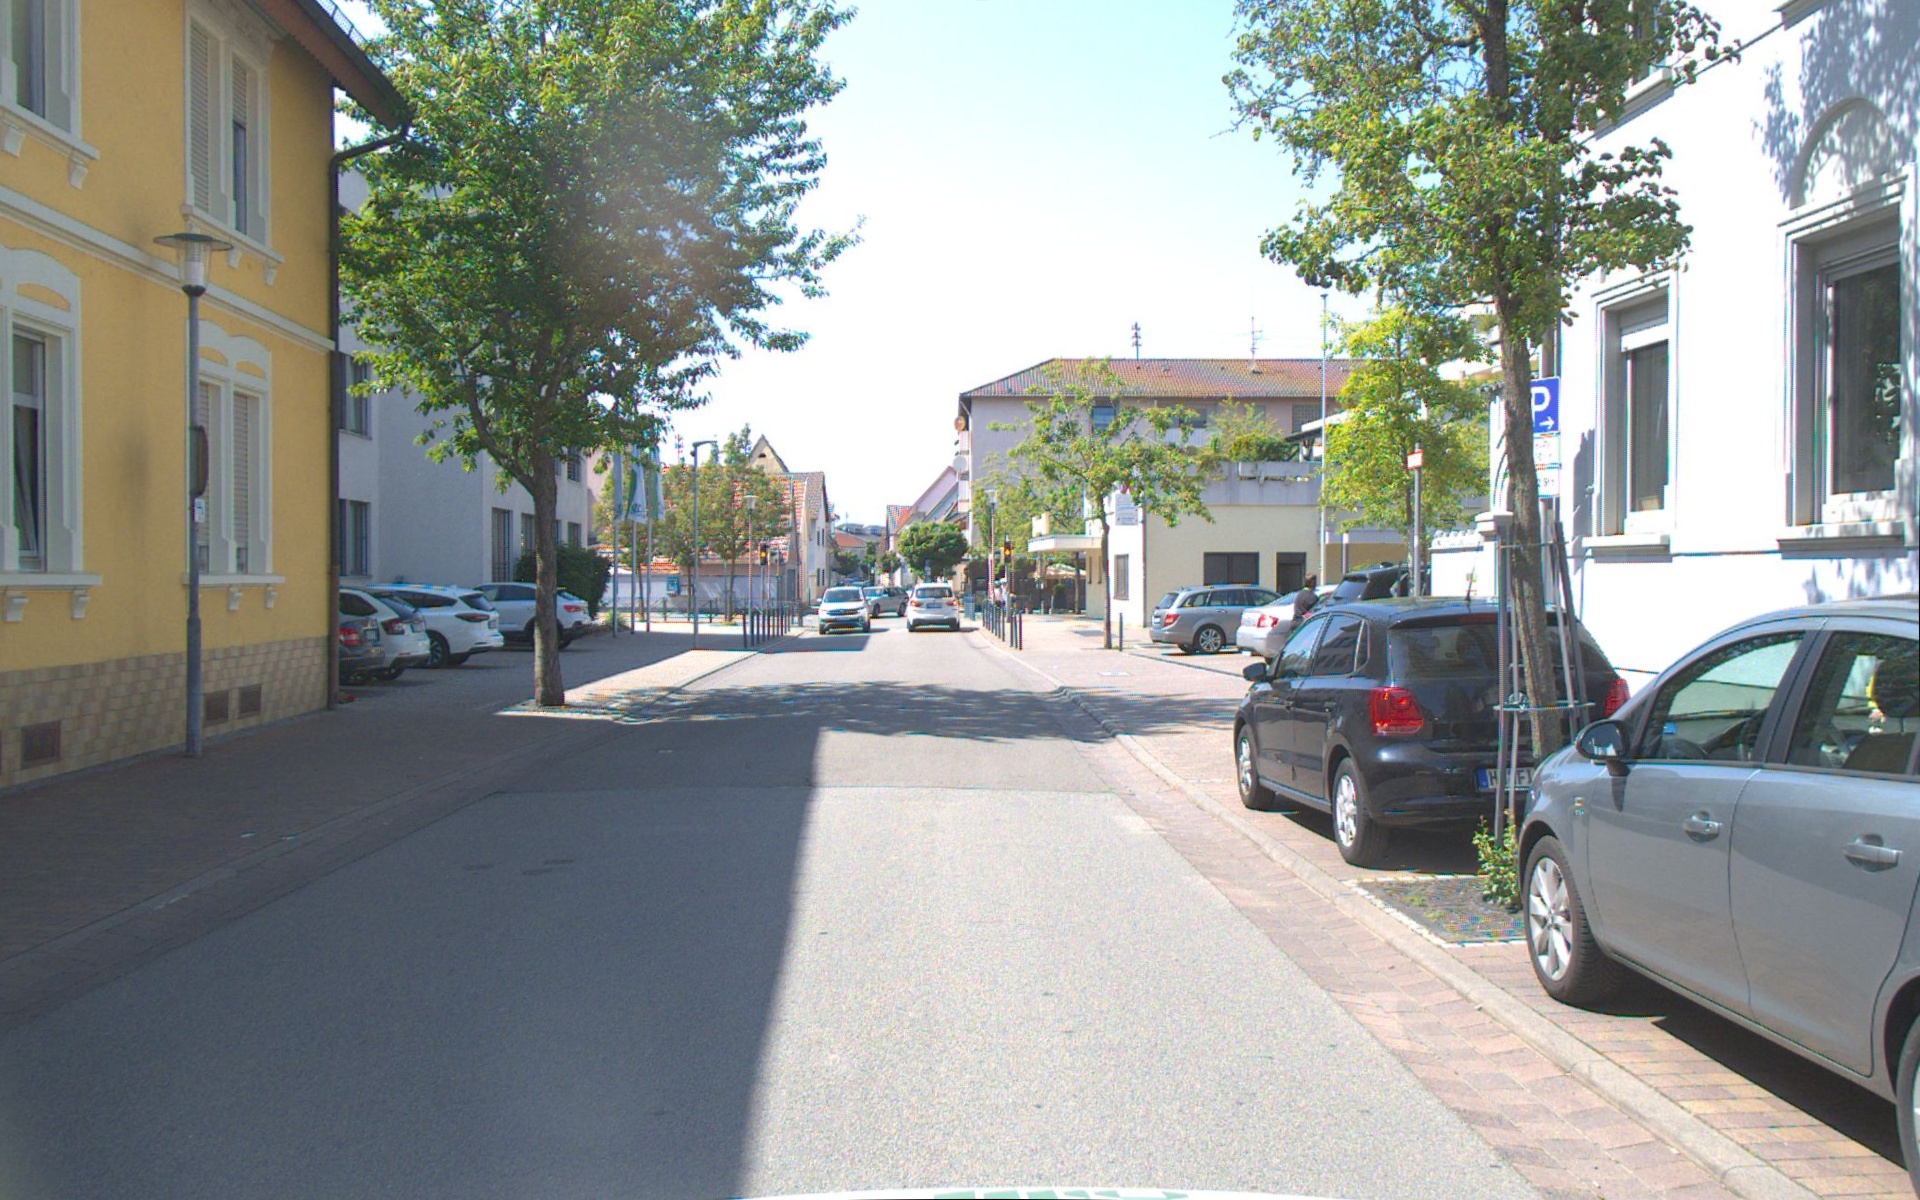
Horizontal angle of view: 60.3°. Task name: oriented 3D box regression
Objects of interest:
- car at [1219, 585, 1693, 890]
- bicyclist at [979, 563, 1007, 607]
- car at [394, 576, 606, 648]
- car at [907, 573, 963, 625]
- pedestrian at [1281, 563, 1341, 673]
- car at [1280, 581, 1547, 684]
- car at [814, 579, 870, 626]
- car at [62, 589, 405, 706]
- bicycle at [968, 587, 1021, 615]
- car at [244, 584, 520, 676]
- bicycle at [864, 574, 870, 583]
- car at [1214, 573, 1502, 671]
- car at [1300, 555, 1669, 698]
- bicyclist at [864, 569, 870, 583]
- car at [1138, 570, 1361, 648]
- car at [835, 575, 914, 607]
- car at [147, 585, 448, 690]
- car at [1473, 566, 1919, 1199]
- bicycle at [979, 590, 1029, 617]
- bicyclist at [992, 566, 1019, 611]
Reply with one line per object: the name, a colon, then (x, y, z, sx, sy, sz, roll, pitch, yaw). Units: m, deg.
car: (2.886, 0.690, 10.527, 1.669, 1.507, 3.920, -1, 1, -3)
bicyclist: (1.228, -0.566, 62.063, 0.751, 1.608, 0.665, -4, 2, -28)
car: (-10.757, 0.273, 38.933, 4.417, 1.581, 2.146, 1, 0, -4)
car: (-0.885, -0.044, 57.482, 1.797, 1.680, 3.999, 2, 0, -1)
pedestrian: (5.744, 0.286, 27.069, 0.734, 1.747, 0.697, -2, 0, -9)
car: (7.075, 0.480, 25.979, 3.659, 1.478, 1.742, -1, 1, -8)
car: (-4.111, 0.081, 58.295, 1.814, 1.601, 3.998, 0, 0, -2)
car: (-9.996, 0.633, 23.035, 3.910, 1.456, 1.970, 1, 1, -6)
bicycle: (1.295, 0.034, 62.099, 1.869, 0.974, 0.670, -3, 1, -28)
car: (-10.617, 0.529, 30.619, 4.413, 1.581, 1.934, -1, 1, -3)
bicycle: (-10.271, -2.364, 181.975, 0.651, 1.023, 1.896, -1, 1, -3)
car: (6.794, 0.351, 28.456, 4.451, 1.466, 1.836, -2, 1, -8)
car: (7.396, 0.341, 23.655, 4.538, 1.802, 2.147, -2, 0, -3)
bicyclist: (-10.255, -2.661, 181.944, 0.660, 1.508, 0.770, -1, 1, -3)
car: (6.385, 0.194, 36.706, 4.490, 1.539, 1.913, -2, 0, -8)
car: (-4.048, -0.419, 79.470, 1.844, 1.489, 4.431, 0, 0, 27)
car: (-10.126, 0.552, 25.533, 3.908, 1.476, 1.806, 1, 1, -4)
car: (3.067, 0.655, 5.029, 1.682, 1.507, 4.095, -1, 0, -1)
bicycle: (1.689, 0.129, 63.495, 1.873, 0.974, 0.668, -3, 1, -33)
bicyclist: (1.755, -0.437, 63.538, 0.752, 1.693, 0.663, -2, 1, -33)
